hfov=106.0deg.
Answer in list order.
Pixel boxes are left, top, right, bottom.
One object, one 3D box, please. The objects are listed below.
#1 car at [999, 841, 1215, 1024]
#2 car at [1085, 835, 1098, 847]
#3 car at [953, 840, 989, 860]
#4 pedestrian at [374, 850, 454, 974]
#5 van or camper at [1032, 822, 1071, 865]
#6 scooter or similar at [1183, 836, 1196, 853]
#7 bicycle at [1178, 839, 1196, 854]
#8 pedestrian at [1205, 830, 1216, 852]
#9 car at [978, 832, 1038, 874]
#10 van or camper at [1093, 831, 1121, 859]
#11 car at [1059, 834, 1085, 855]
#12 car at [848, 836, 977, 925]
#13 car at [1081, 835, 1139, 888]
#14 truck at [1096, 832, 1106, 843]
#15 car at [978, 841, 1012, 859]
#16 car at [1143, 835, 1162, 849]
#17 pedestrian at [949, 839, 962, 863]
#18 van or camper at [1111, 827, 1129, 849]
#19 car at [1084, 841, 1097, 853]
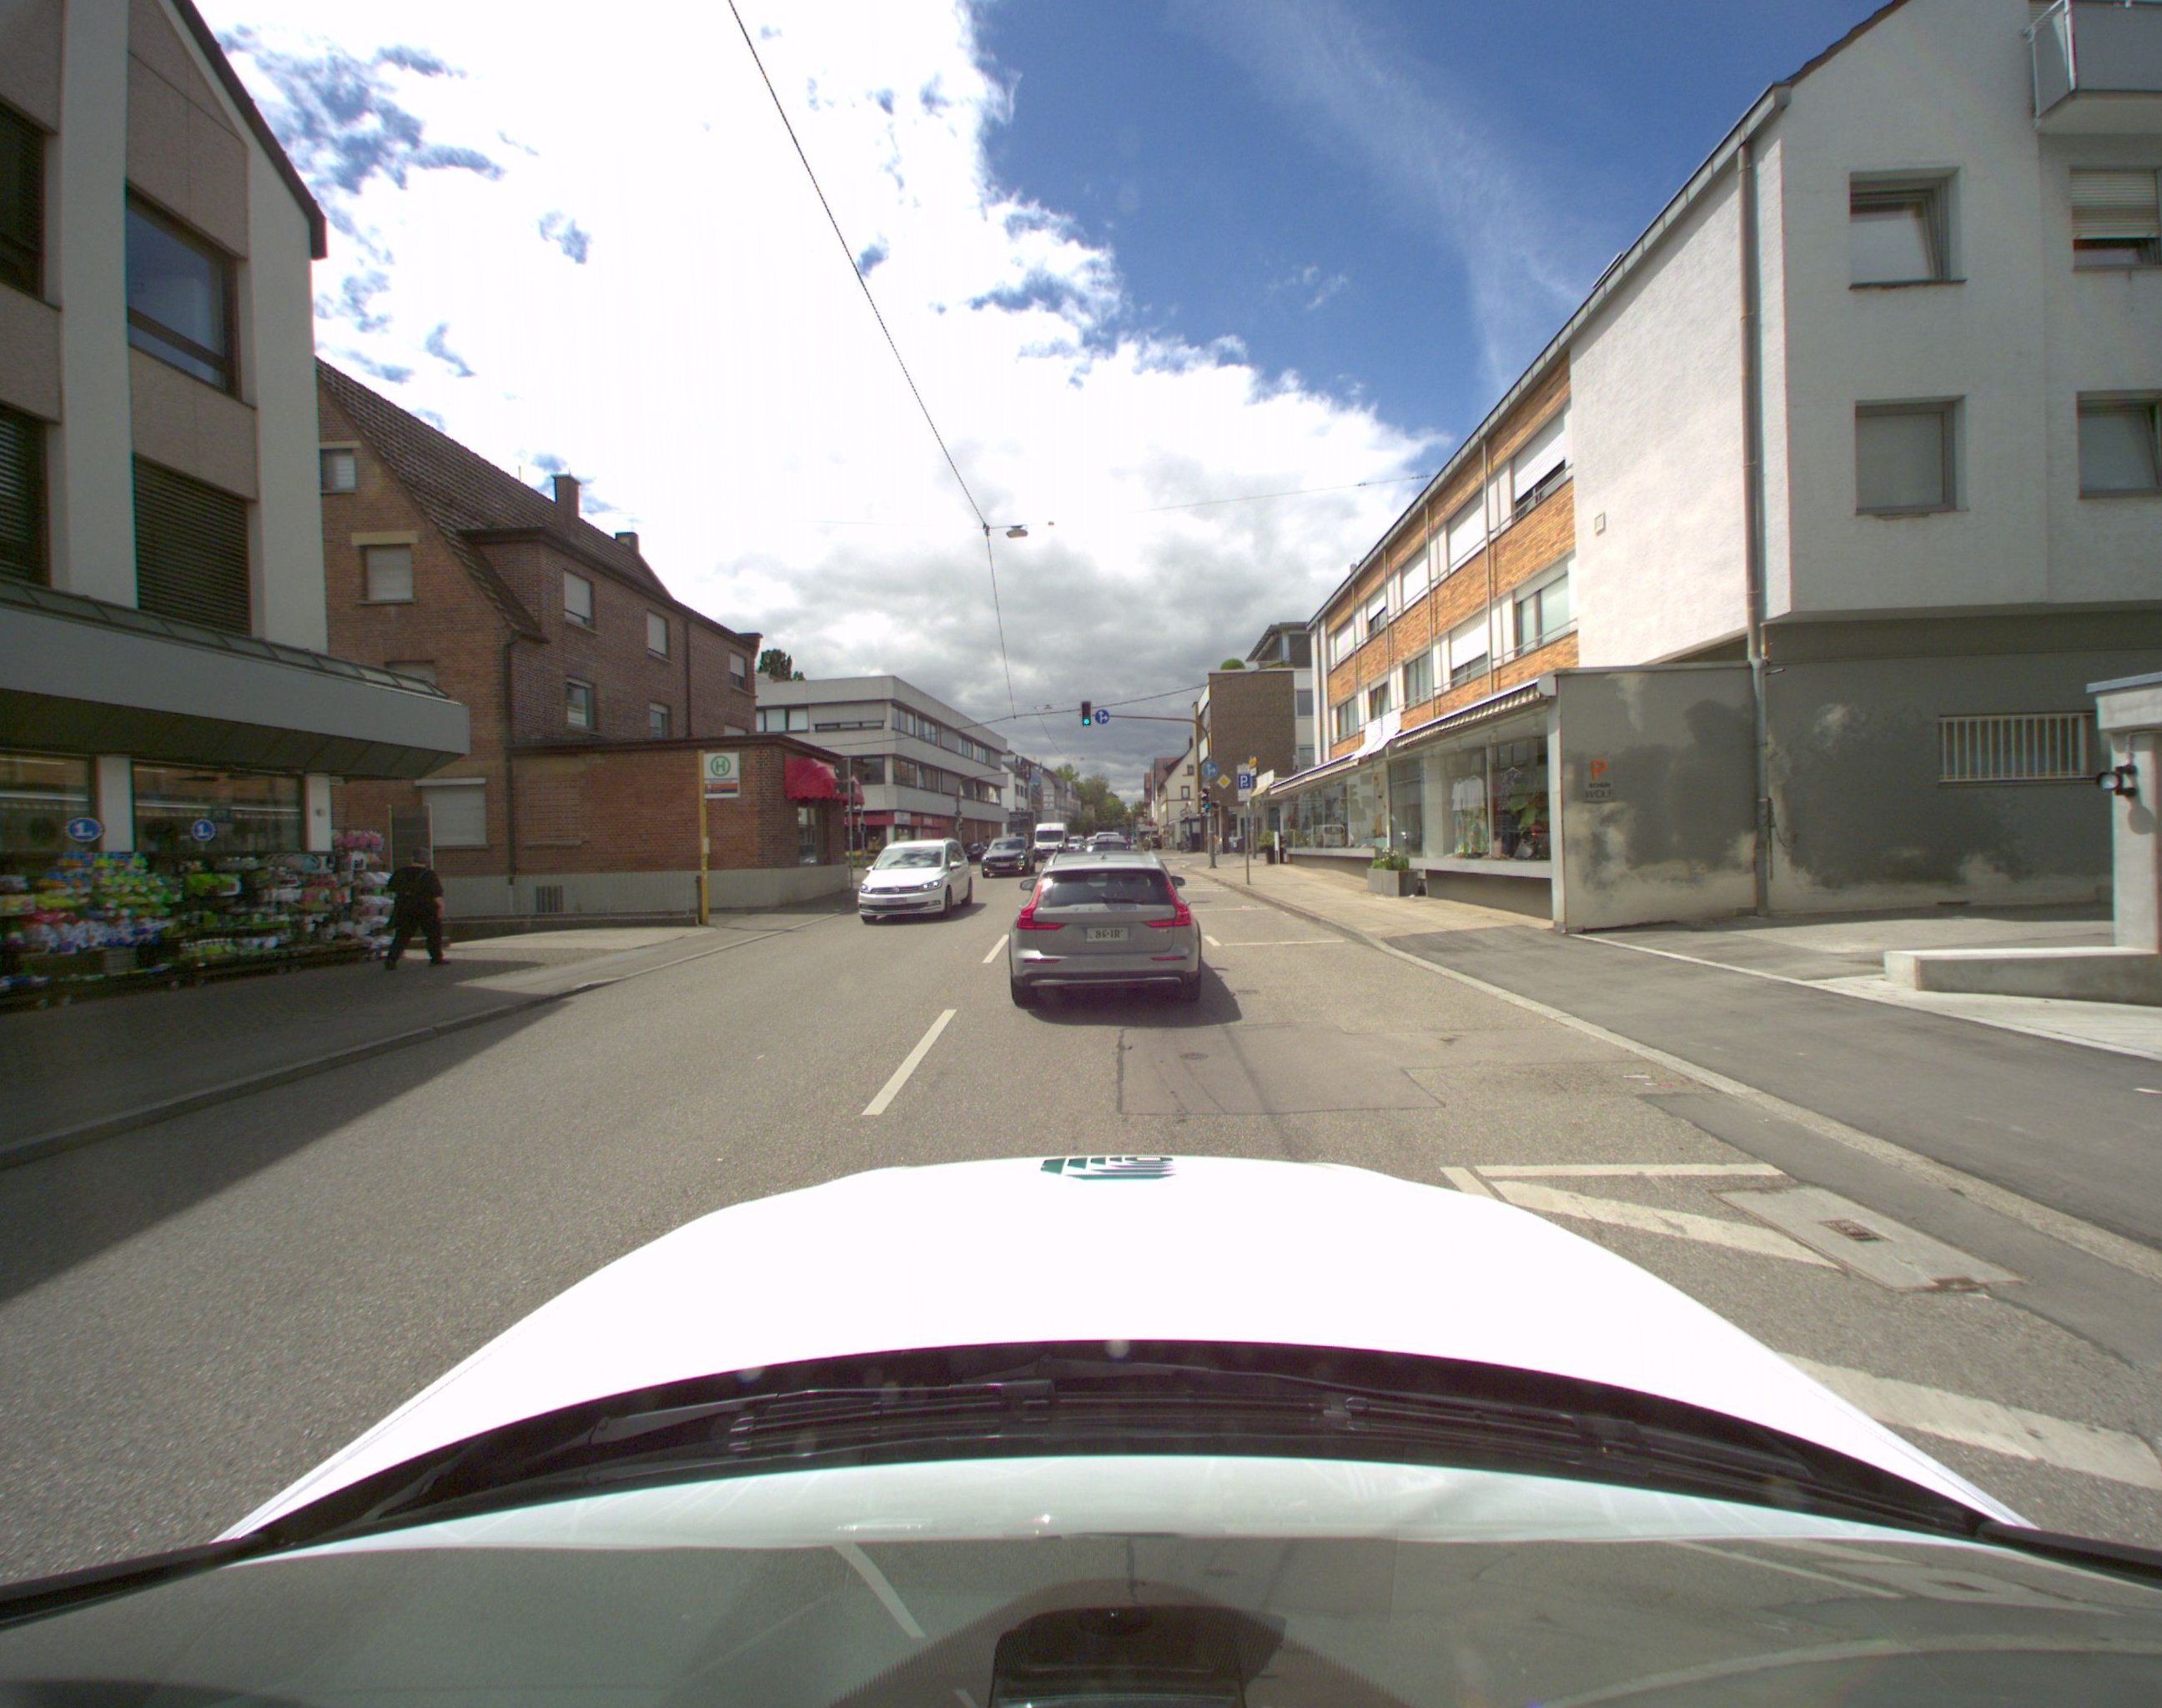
[{"bbox_3d":[0.288,0.653,9.053,1.829,1.486,4.002,-2,2,2],"label":"car"},{"bbox_3d":[1.688,-2.000,126.764,1.831,1.917,4.158,-1,0,2],"label":"car"},{"bbox_3d":[-8.314,-0.288,61.830,1.776,1.464,4.094,0,1,6],"label":"car"},{"bbox_3d":[-8.740,0.732,10.697,0.776,1.558,0.567,1,-2,-39],"label":"pedestrian"},{"bbox_3d":[-1.856,-0.719,53.087,2.141,2.556,5.439,-3,2,1],"label":"van or camper"},{"bbox_3d":[8.343,-0.696,62.480,0.342,1.253,1.236,-4,0,-23],"label":"scooter or similar"},{"bbox_3d":[8.515,-0.619,65.653,0.555,1.144,2.288,-3,1,-15],"label":"bicycle"},{"bbox_3d":[8.514,-0.851,53.533,0.500,1.459,0.502,-5,0,15],"label":"pedestrian"},{"bbox_3d":[-2.848,-0.030,32.637,1.783,1.511,3.848,-2,0,3],"label":"car"},{"bbox_3d":[1.839,-0.593,56.988,1.812,1.835,4.001,-2,-1,2],"label":"van or camper"},{"bbox_3d":[-0.720,-0.836,69.023,1.773,1.639,4.225,-3,1,3],"label":"car"},{"bbox_3d":[-3.549,0.475,17.984,1.768,1.612,4.122,-3,2,2],"label":"car"},{"bbox_3d":[0.892,0.184,24.962,1.644,1.482,3.609,-1,0,2],"label":"car"},{"bbox_3d":[5.105,-4.251,209.410,2.266,2.886,7.086,-2,1,3],"label":"truck"},{"bbox_3d":[-7.096,-0.338,67.614,1.894,1.443,4.452,0,1,6],"label":"car"},{"bbox_3d":[7.957,-1.299,90.650,1.705,1.464,4.000,-1,-1,0],"label":"car"},{"bbox_3d":[-8.458,-0.202,54.874,0.616,1.641,0.661,-2,1,3],"label":"pedestrian"},{"bbox_3d":[4.889,-2.019,102.372,2.114,2.686,4.786,-2,1,3],"label":"van or camper"},{"bbox_3d":[1.330,-0.970,114.131,1.661,1.553,4.219,-2,1,3],"label":"car"}]
